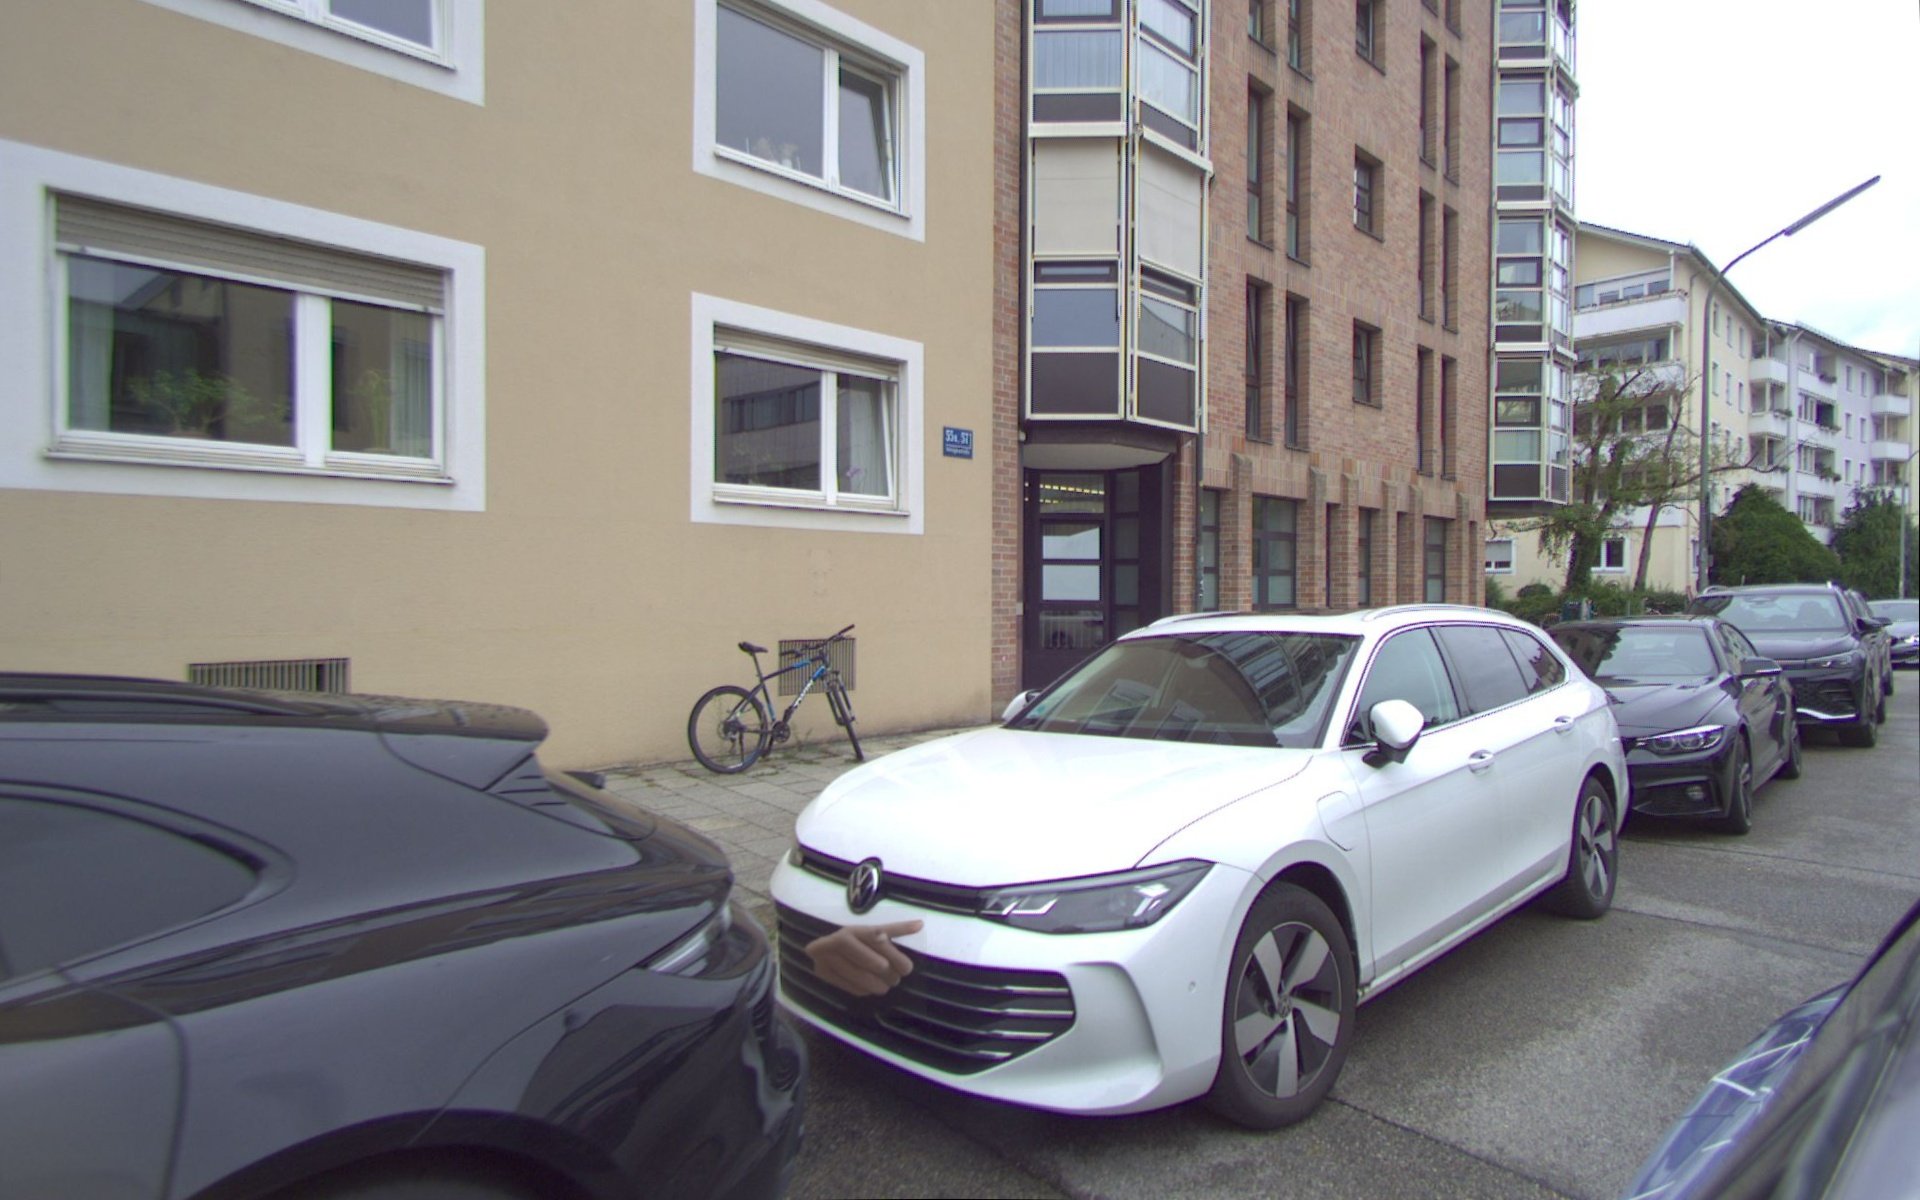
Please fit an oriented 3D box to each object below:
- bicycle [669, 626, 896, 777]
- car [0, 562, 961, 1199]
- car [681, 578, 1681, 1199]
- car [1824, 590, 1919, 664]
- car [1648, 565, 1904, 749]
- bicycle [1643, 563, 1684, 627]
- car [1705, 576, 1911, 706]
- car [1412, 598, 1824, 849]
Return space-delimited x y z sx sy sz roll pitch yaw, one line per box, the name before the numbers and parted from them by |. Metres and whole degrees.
bicycle | -1.419 0.771 8.270 1.722 1.046 0.677 0 1 -41
car | -2.512 0.669 0.978 5.025 1.432 1.958 -1 1 -42
car | 1.469 0.661 4.489 4.929 1.432 1.856 0 1 -43
car | 20.379 0.541 21.821 4.255 1.455 1.881 0 -1 -39
car | 9.379 0.480 11.478 1.877 1.666 4.571 1 1 44
bicycle | 23.133 -0.174 33.265 1.959 2.039 0.653 0 1 -42
car | 12.555 0.489 14.878 4.433 1.611 1.879 0 1 -44
car | 5.439 0.739 8.048 1.757 1.383 4.703 -4 -3 45
